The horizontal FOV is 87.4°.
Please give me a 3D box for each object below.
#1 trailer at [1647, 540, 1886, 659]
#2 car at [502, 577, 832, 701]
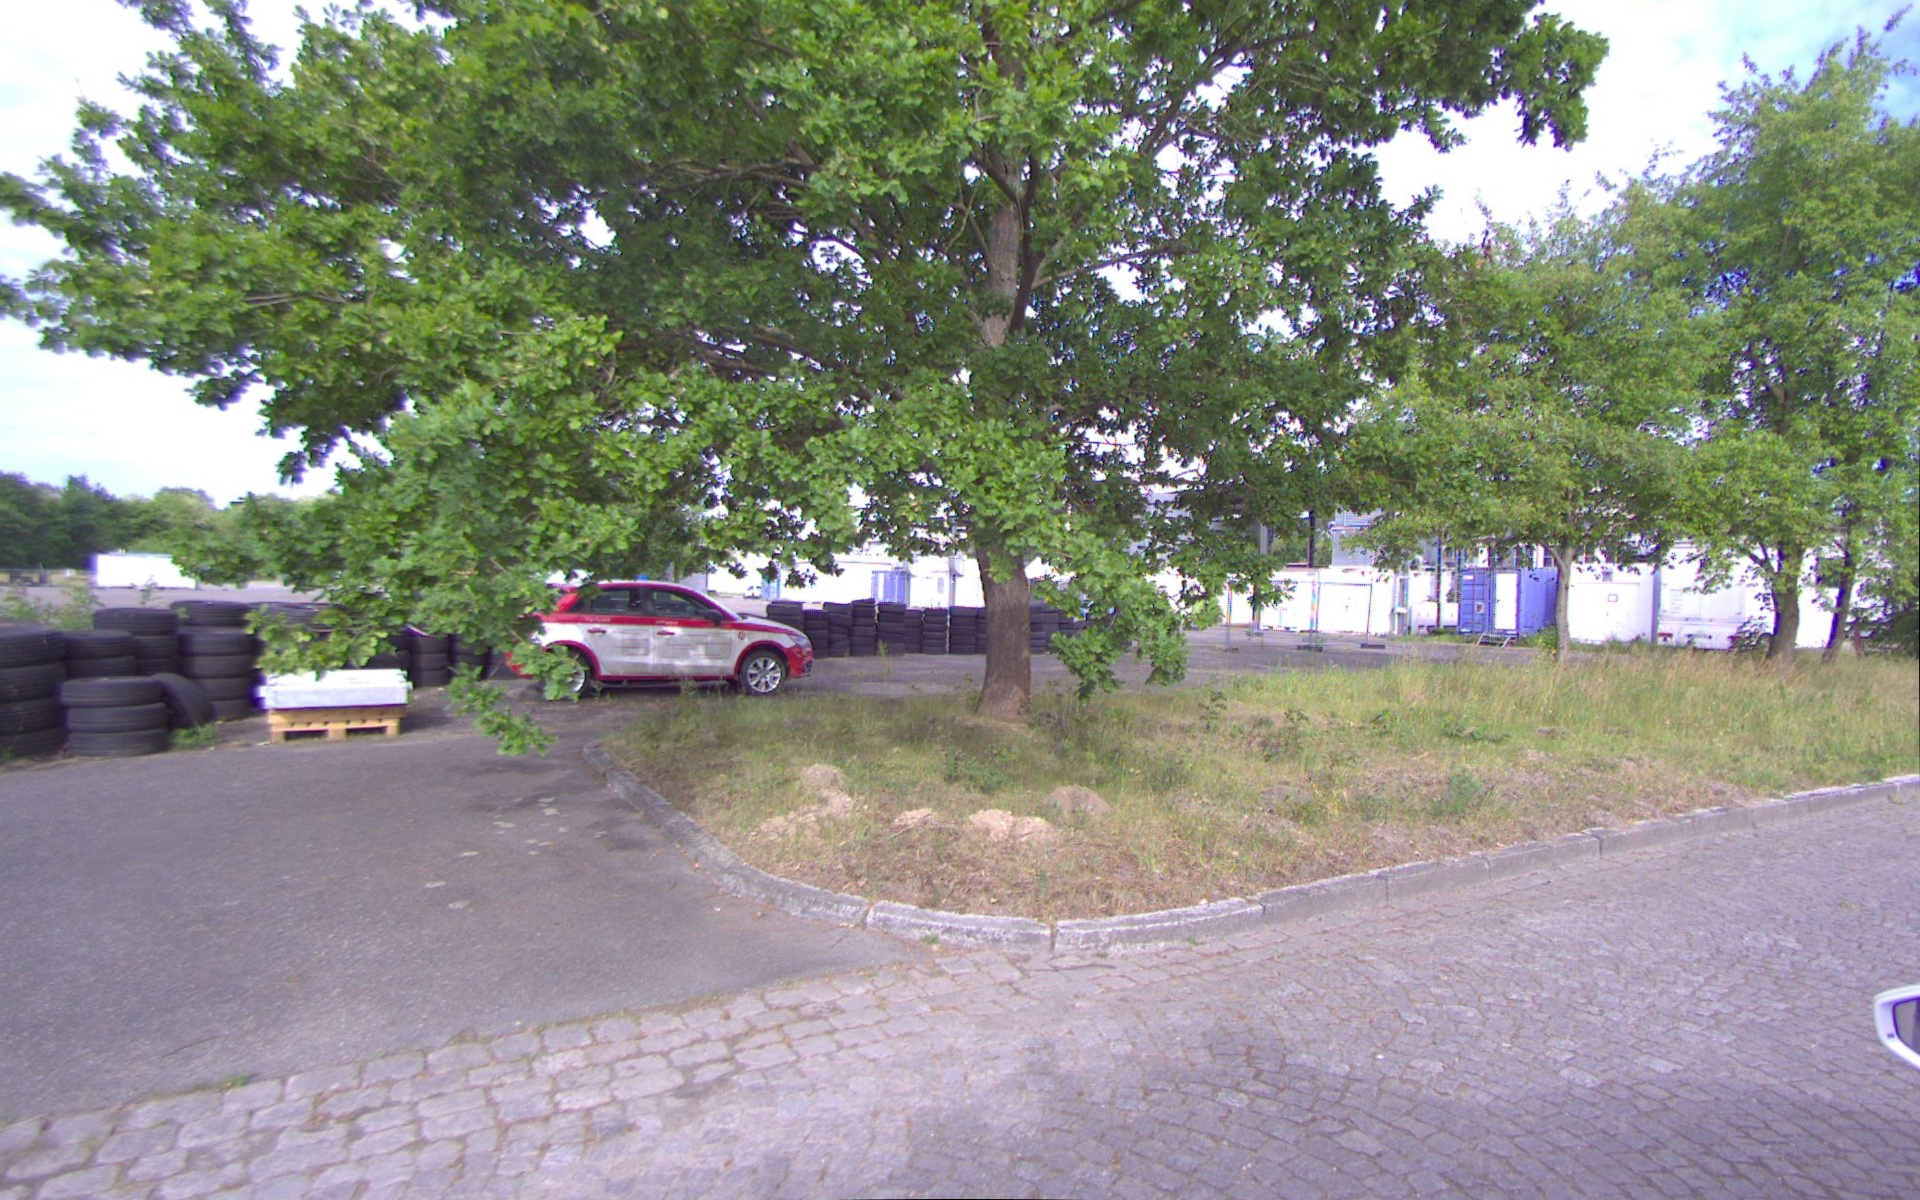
[{"bbox_3d":[27.569,0.055,34.152,10.052,3.646,2.614,1,1,-29],"label":"trailer"},{"bbox_3d":[-3.868,0.464,13.325,4.009,1.453,1.620,1,1,-25],"label":"car"}]
